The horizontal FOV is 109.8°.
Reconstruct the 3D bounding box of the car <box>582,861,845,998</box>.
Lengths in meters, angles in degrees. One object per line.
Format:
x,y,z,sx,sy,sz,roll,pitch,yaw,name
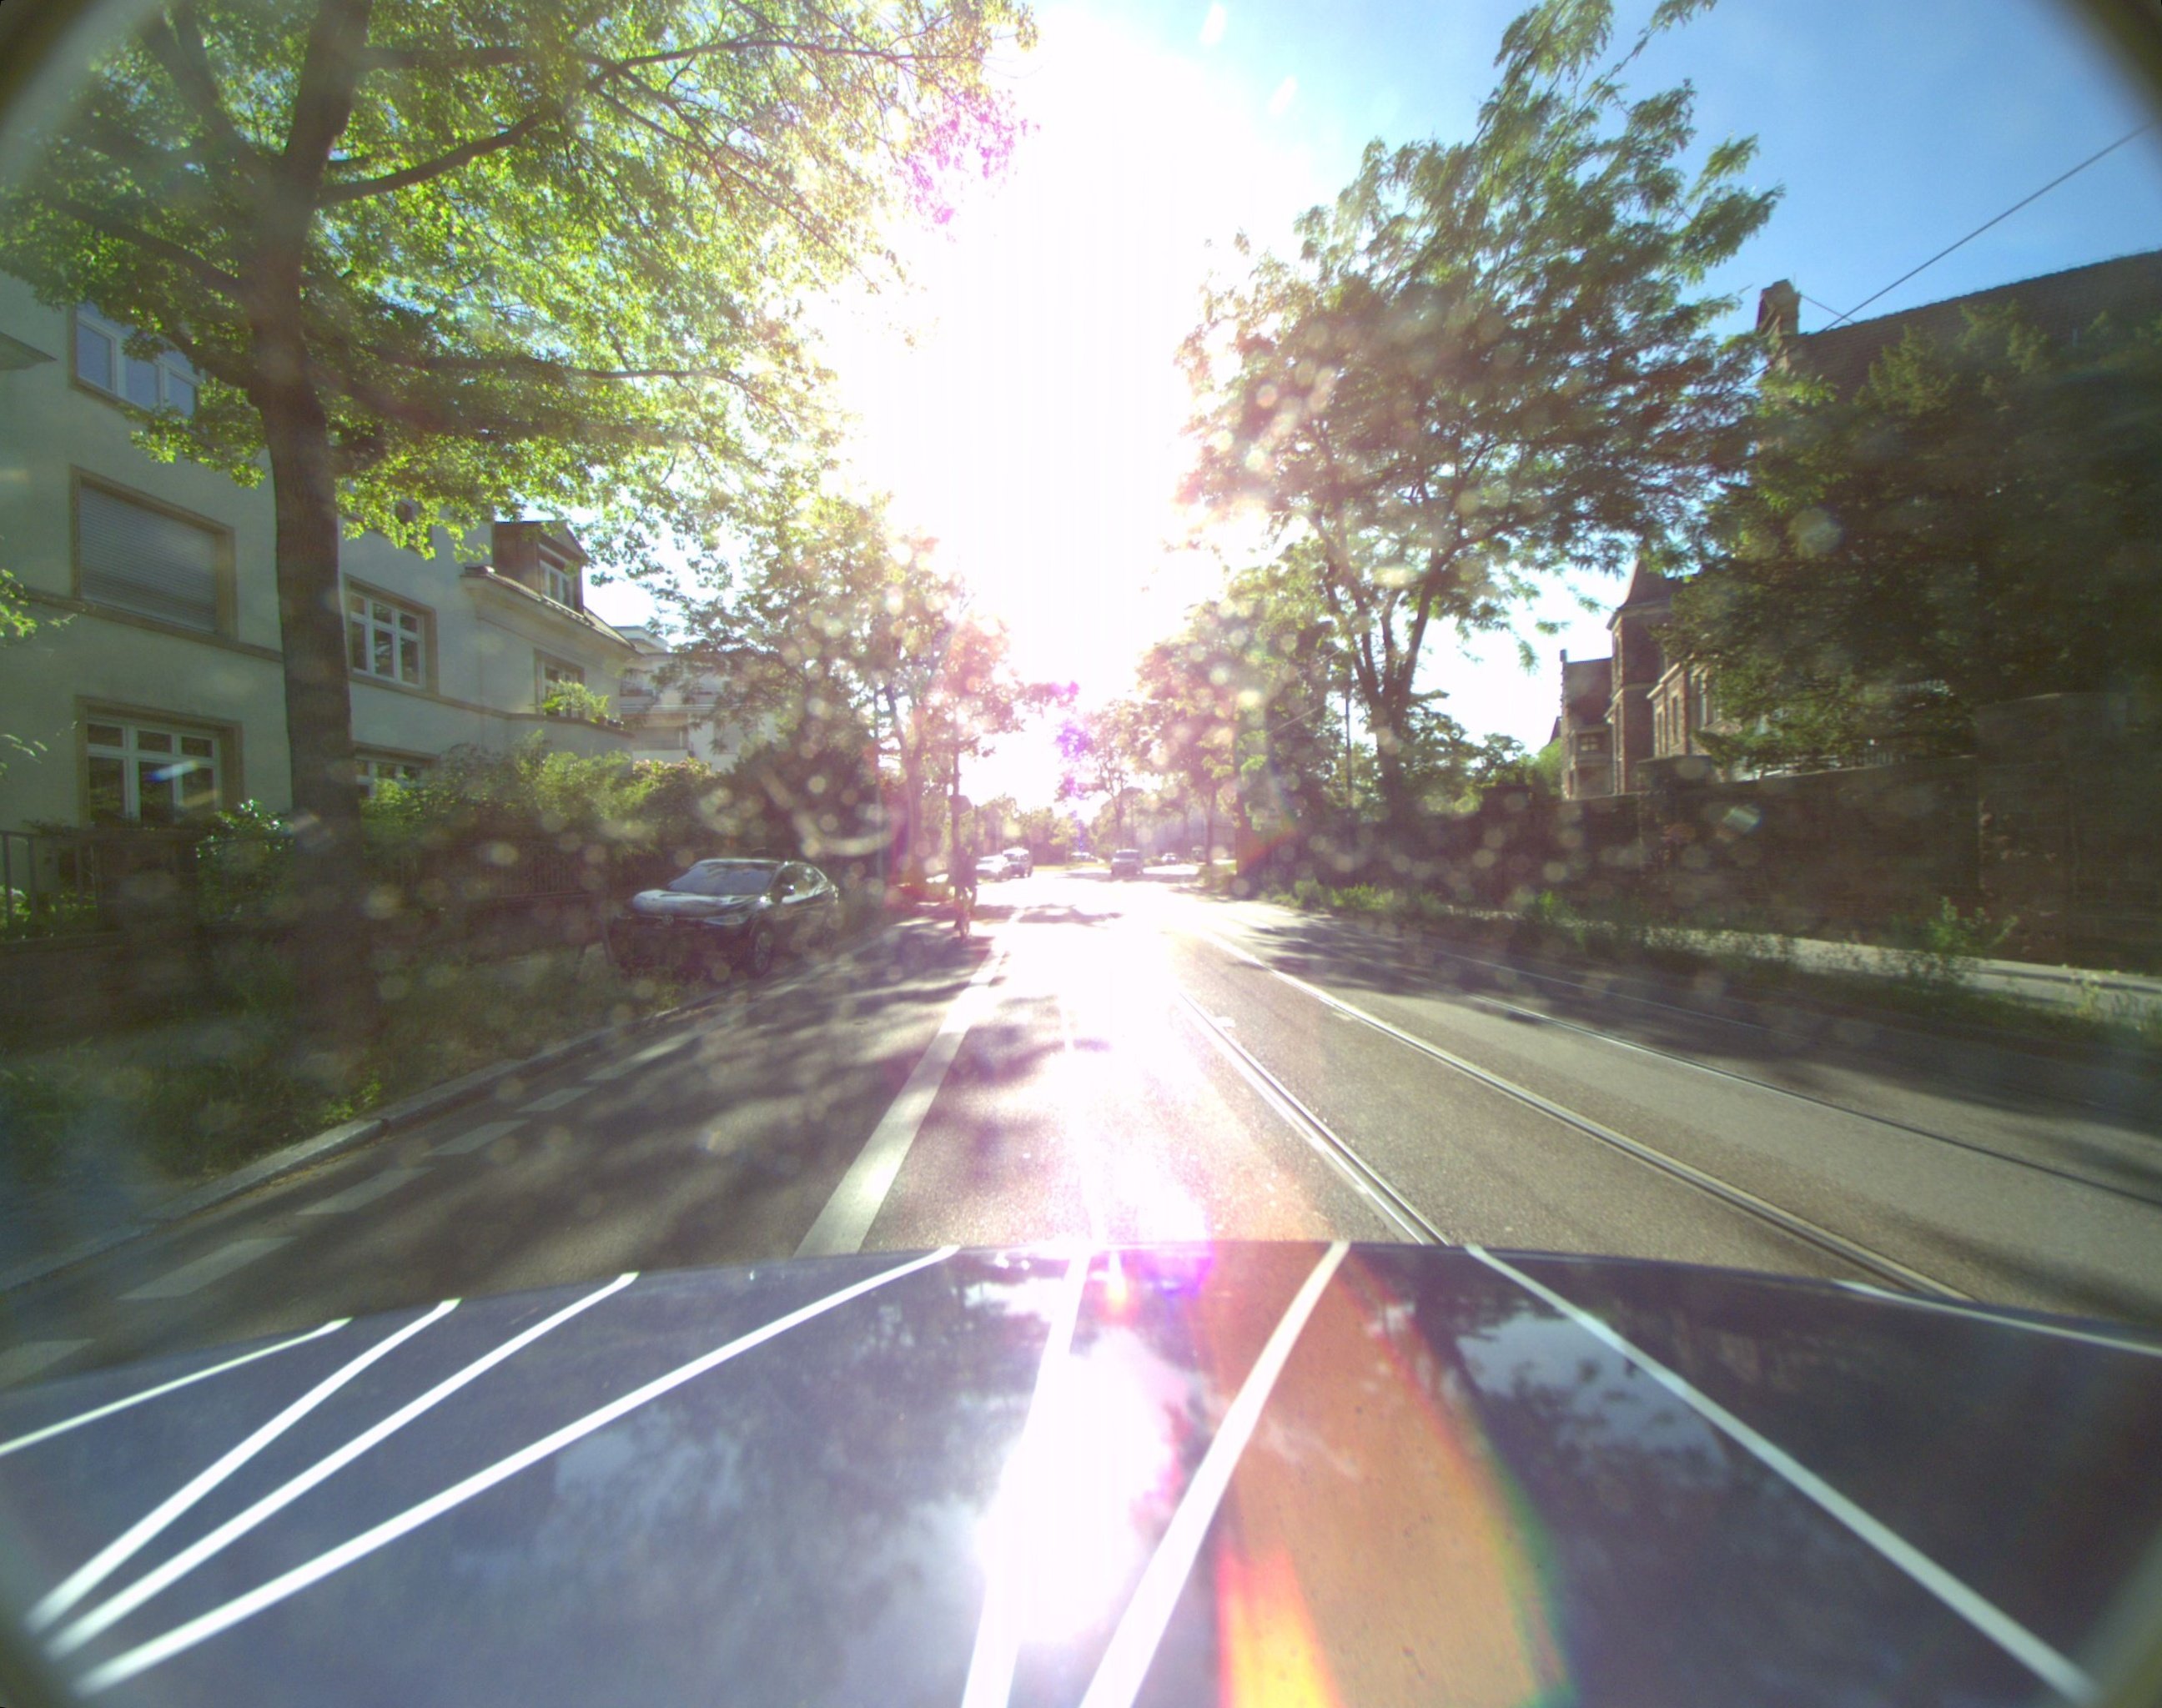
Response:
-5.195,0.948,11.505,1.919,1.590,4.258,2,0,-1,car

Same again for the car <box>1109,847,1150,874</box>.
3.593,0.425,54.993,1.875,1.805,4.973,-1,0,16,car

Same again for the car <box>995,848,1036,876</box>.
-4.401,0.507,51.687,1.900,1.775,4.670,-1,0,6,car

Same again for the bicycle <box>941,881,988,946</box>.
-2.286,1.138,15.052,0.588,1.105,1.855,-2,0,1,bicycle

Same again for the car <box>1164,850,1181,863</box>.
11.914,0.315,98.719,1.997,1.539,4.002,-2,0,8,car

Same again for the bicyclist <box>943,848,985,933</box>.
-2.313,0.704,15.054,0.644,1.632,0.665,-2,1,1,bicyclist

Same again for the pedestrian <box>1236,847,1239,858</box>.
27.694,-0.260,134.445,0.524,1.823,0.587,-1,1,15,pedestrian

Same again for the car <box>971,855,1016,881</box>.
-5.163,0.795,45.331,1.901,1.402,4.260,-1,0,4,car

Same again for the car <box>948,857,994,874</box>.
-10.042,1.048,69.536,3.998,1.433,1.813,-2,0,-3,car

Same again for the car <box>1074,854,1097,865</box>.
0.750,0.920,128.787,3.908,1.683,1.905,-2,0,-1,car
